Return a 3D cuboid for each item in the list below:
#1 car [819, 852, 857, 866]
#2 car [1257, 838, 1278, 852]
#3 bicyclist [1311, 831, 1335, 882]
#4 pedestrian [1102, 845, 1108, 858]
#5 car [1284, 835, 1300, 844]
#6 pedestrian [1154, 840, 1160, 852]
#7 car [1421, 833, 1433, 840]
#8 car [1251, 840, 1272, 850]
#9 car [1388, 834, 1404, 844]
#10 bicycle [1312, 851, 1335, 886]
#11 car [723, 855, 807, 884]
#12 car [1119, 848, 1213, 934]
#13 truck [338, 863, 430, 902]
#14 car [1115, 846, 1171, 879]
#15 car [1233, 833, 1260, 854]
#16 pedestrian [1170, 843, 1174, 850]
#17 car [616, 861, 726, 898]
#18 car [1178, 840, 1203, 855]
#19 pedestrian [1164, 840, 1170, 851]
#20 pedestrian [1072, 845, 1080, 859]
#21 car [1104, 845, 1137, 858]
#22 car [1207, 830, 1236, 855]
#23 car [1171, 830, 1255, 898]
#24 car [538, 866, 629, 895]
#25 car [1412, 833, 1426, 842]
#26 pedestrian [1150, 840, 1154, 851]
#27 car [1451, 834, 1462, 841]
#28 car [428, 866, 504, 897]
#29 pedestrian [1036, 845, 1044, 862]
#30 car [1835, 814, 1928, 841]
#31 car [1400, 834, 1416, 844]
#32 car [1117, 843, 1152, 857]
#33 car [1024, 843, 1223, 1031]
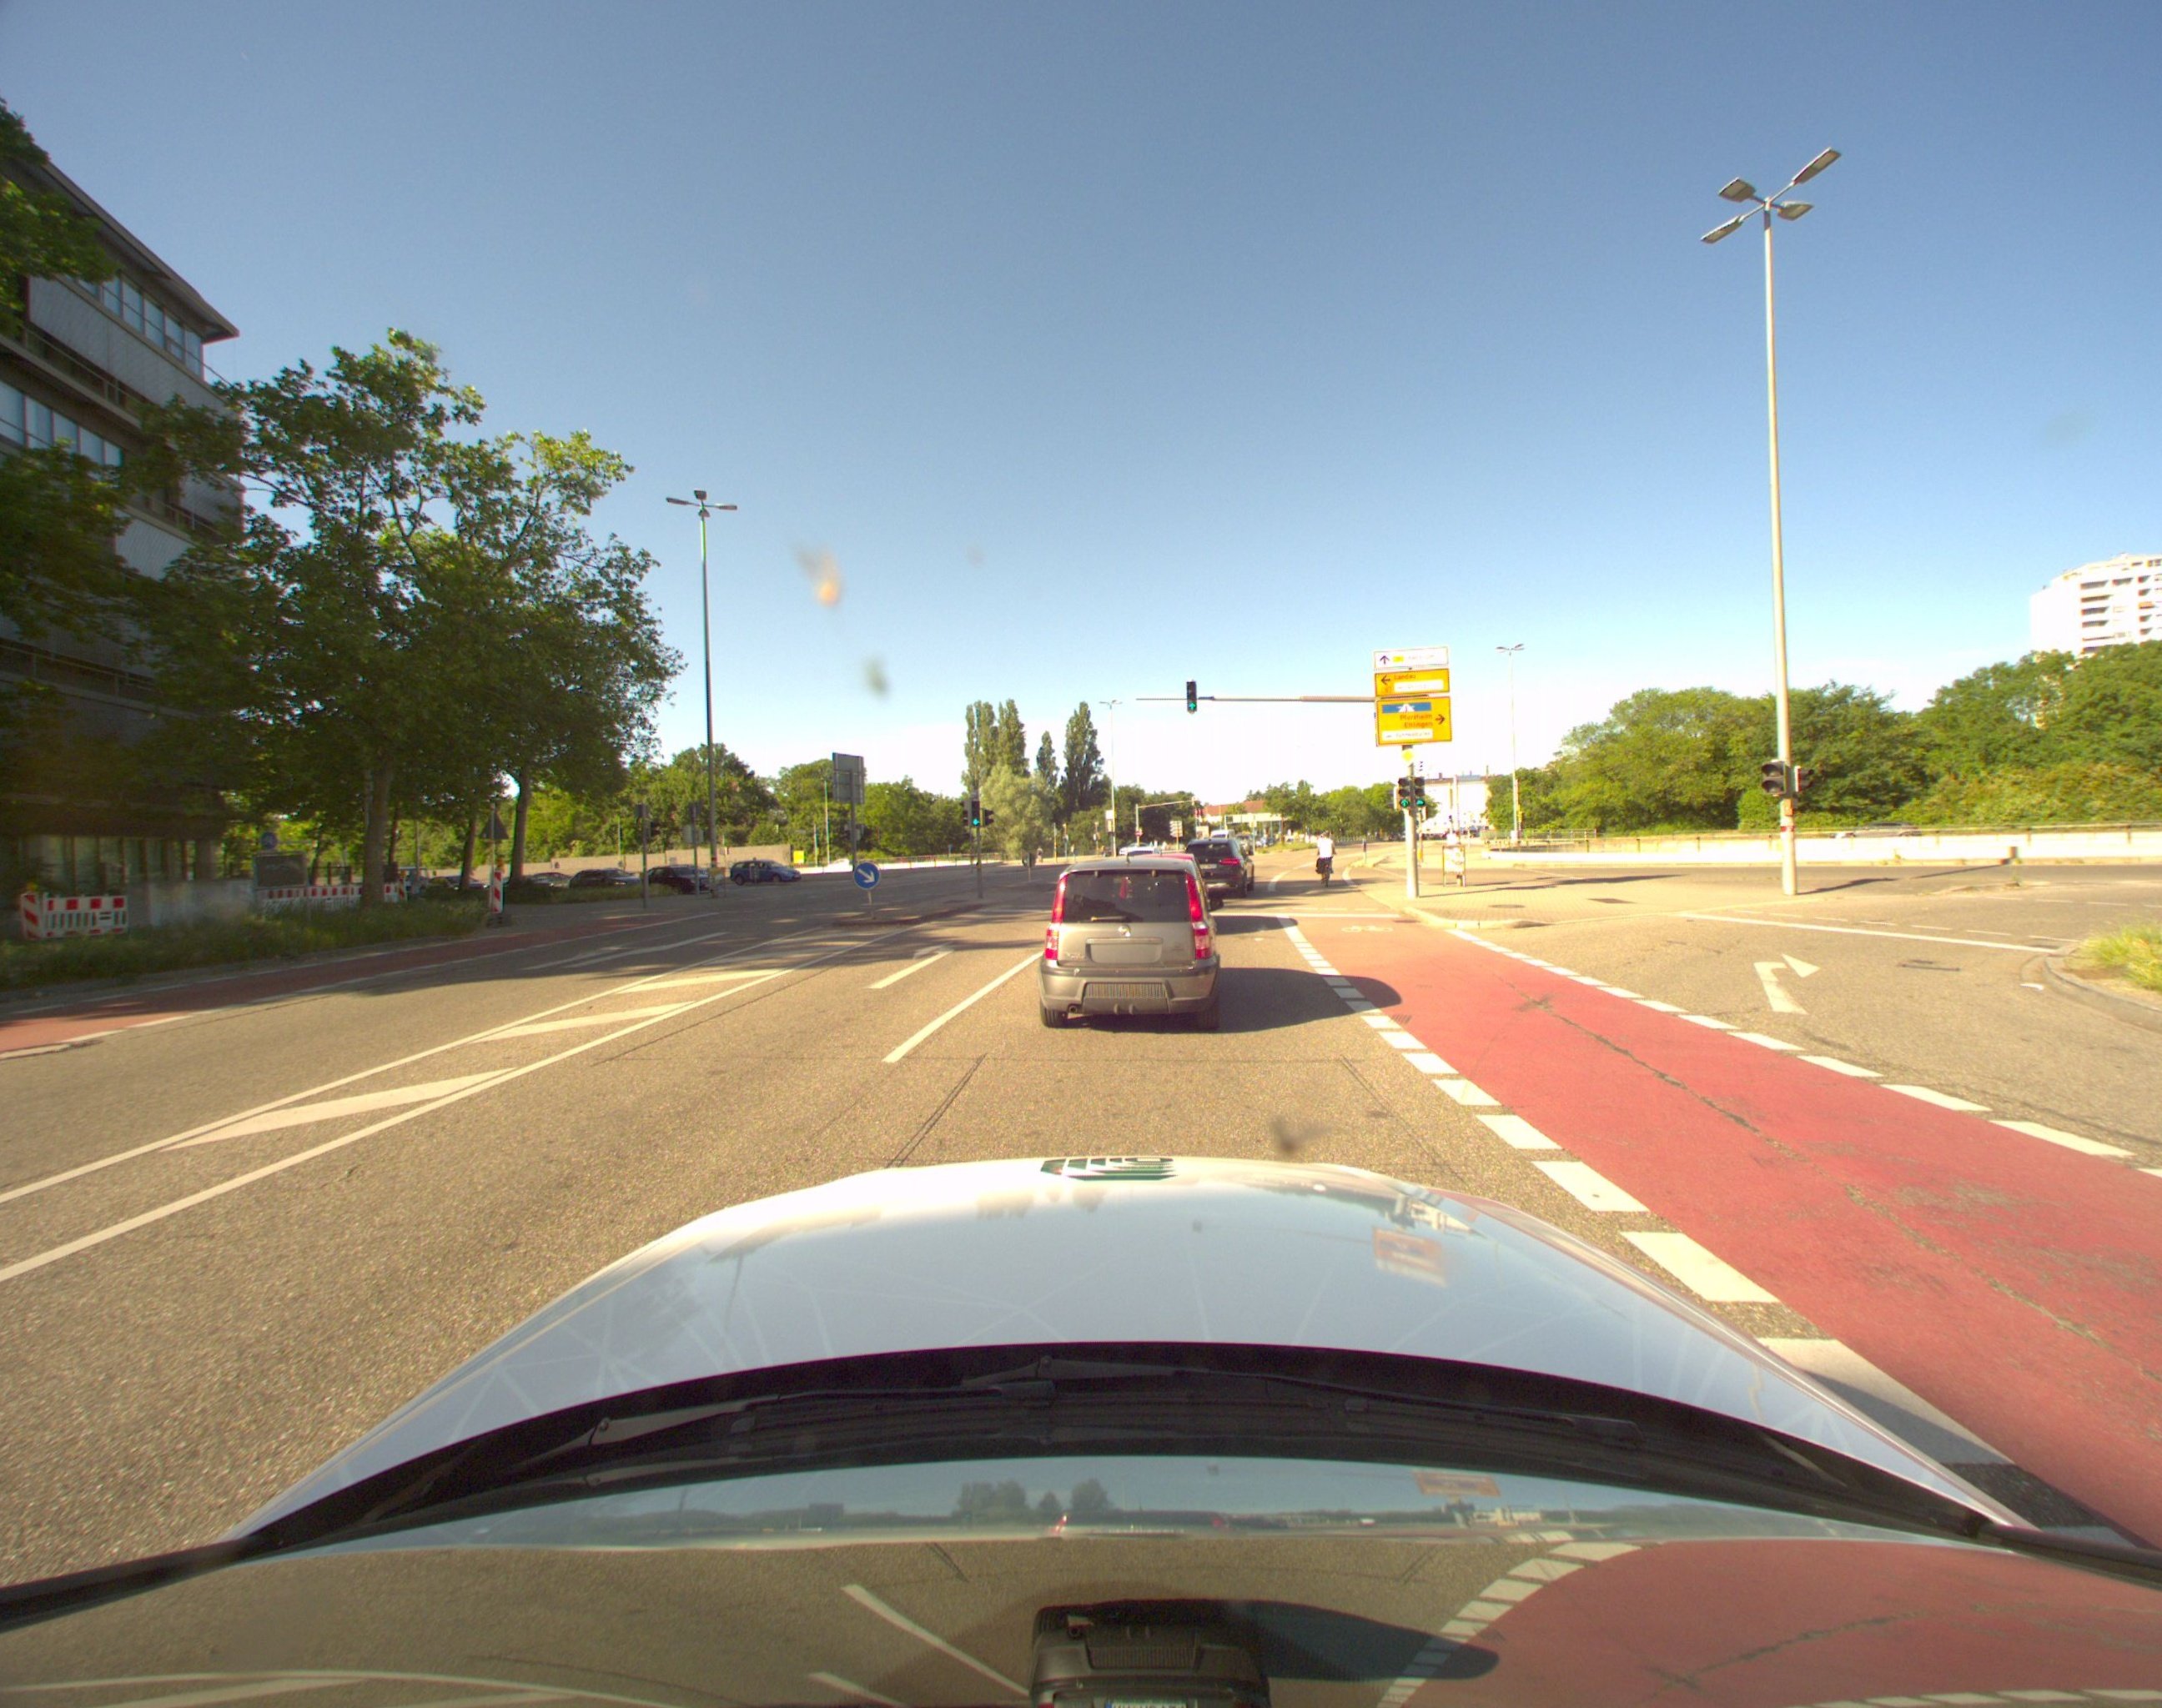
[{"bbox_3d":[-29.071,0.601,97.437,3.951,1.508,2.011,-2,1,23],"label":"car"},{"bbox_3d":[23.064,-1.098,100.597,1.920,1.622,4.530,-2,1,22],"label":"car"},{"bbox_3d":[8.097,0.064,27.191,0.718,1.659,1.118,-1,1,17],"label":"bicyclist"},{"bbox_3d":[2.815,-0.264,95.542,0.557,1.547,0.573,-3,-1,-14],"label":"pedestrian"},{"bbox_3d":[41.981,-2.876,161.841,1.974,1.816,4.025,-1,-1,30],"label":"car"},{"bbox_3d":[11.203,-1.207,120.021,0.633,1.664,0.782,0,-1,-40],"label":"pedestrian"},{"bbox_3d":[71.945,-3.654,169.297,1.926,1.528,4.123,-2,1,30],"label":"car"},{"bbox_3d":[28.701,-1.389,129.415,1.974,1.448,4.025,-1,-1,32],"label":"car"},{"bbox_3d":[50.712,-2.414,131.069,1.927,1.528,4.123,-2,1,29],"label":"car"},{"bbox_3d":[8.136,0.480,27.296,0.686,1.102,1.835,-1,1,17],"label":"bicycle"},{"bbox_3d":[-19.346,0.949,49.917,4.411,1.540,1.959,-2,1,14],"label":"car"},{"bbox_3d":[1.814,0.652,16.390,1.608,1.463,3.761,-2,1,9],"label":"car"},{"bbox_3d":[-45.949,1.895,53.607,7.418,2.359,2.178,-2,1,30],"label":"truck"},{"bbox_3d":[3.056,0.358,39.330,1.767,1.415,4.338,-2,1,16],"label":"car"},{"bbox_3d":[17.456,-1.125,85.749,1.920,2.008,4.958,-2,1,22],"label":"car"},{"bbox_3d":[13.910,-1.139,124.514,0.419,1.136,0.400,-1,-1,26],"label":"pedestrian"},{"bbox_3d":[-20.180,1.235,40.138,4.732,1.621,1.961,-2,1,17],"label":"car"},{"bbox_3d":[12.244,-0.749,91.118,1.921,1.507,4.020,-3,0,19],"label":"car"},{"bbox_3d":[13.230,-1.335,124.816,0.713,1.641,0.676,-1,-1,26],"label":"pedestrian"},{"bbox_3d":[-0.554,-0.208,91.973,0.711,1.547,0.724,-3,-1,-19],"label":"pedestrian"},{"bbox_3d":[5.059,-0.320,103.934,4.018,1.625,1.880,0,-1,-37],"label":"car"},{"bbox_3d":[15.479,-1.337,89.482,1.920,2.576,6.122,-2,1,22],"label":"car"},{"bbox_3d":[4.107,0.241,24.801,1.930,1.840,4.171,-2,1,16],"label":"car"},{"bbox_3d":[-25.830,1.368,42.271,4.453,1.358,1.892,-2,1,26],"label":"car"},{"bbox_3d":[66.043,-3.267,159.110,1.926,1.528,4.123,-2,1,30],"label":"car"},{"bbox_3d":[10.535,-1.244,120.963,0.494,1.702,0.503,-1,-1,26],"label":"pedestrian"},{"bbox_3d":[90.039,-3.981,195.146,1.926,1.528,4.123,-2,1,30],"label":"car"},{"bbox_3d":[-35.947,1.622,47.611,4.451,1.644,1.892,-2,1,30],"label":"car"},{"bbox_3d":[-3.749,-0.042,74.267,0.678,1.463,0.702,-2,0,-5],"label":"pedestrian"},{"bbox_3d":[52.749,-1.741,53.768,4.190,1.552,1.873,-2,1,39],"label":"car"},{"bbox_3d":[57.113,-2.637,142.125,1.926,1.528,4.123,-2,1,30],"label":"car"},{"bbox_3d":[6.707,-0.545,101.236,4.351,1.535,1.764,-3,2,-40],"label":"car"},{"bbox_3d":[0.653,0.681,8.659,1.608,1.515,3.830,-2,1,9],"label":"car"}]
